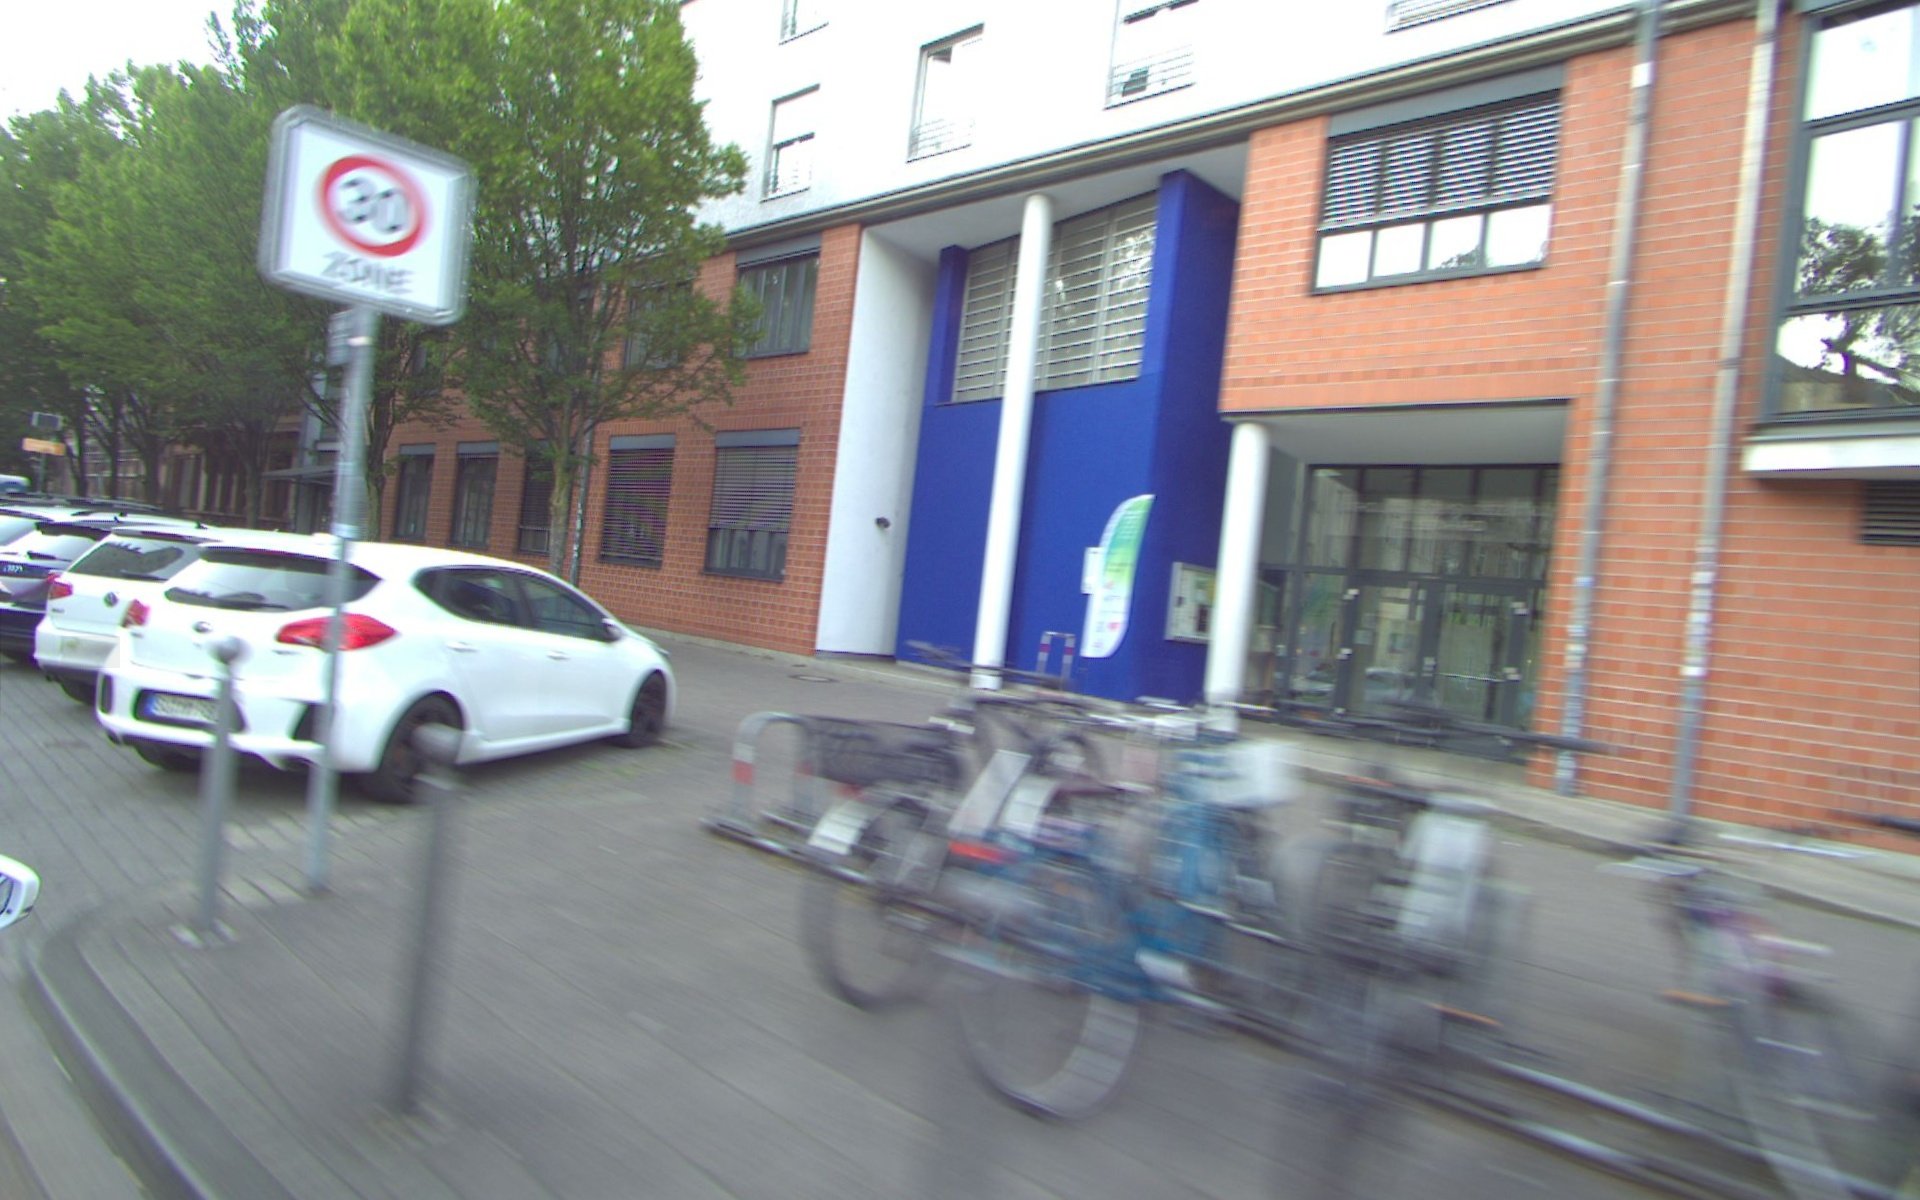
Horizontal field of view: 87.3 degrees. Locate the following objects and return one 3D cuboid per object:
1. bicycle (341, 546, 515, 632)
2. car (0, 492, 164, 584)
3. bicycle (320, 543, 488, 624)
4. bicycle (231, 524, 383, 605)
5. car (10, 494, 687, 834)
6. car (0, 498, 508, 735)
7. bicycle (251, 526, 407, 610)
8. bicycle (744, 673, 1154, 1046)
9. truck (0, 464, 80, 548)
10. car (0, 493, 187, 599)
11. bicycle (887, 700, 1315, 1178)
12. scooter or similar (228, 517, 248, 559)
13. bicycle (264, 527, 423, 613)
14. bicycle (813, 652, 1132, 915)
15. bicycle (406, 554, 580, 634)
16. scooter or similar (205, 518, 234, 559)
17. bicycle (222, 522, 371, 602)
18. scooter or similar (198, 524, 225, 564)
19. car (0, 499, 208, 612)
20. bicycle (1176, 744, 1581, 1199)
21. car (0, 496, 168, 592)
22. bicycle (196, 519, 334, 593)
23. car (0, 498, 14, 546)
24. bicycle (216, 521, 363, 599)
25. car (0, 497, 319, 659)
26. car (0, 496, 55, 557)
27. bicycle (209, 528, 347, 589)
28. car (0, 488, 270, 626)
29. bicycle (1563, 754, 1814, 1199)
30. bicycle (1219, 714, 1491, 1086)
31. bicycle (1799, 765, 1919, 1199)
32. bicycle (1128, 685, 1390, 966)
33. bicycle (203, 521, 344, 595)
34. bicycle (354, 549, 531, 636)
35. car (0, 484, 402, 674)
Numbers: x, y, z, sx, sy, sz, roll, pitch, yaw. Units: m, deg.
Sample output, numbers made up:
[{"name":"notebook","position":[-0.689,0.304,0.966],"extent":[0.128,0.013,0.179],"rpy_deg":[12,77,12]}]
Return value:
[{"name":"bicycle","position":[-9.095,-0.159,17.321],"extent":[0.554,1.180,2.530],"rpy_deg":[7,-1,42]},{"name":"car","position":[-19.546,-1.371,21.160],"extent":[1.726,1.657,3.999],"rpy_deg":[7,0,20]},{"name":"bicycle","position":[-9.952,-0.267,18.128],"extent":[0.554,1.180,2.530],"rpy_deg":[7,-1,42]},{"name":"bicycle","position":[-13.822,-0.725,21.377],"extent":[0.591,1.396,2.530],"rpy_deg":[7,0,42]},{"name":"car","position":[-3.710,0.375,7.097],"extent":[1.736,1.525,4.003],"rpy_deg":[7,-1,11]},{"name":"car","position":[-6.036,0.138,8.861],"extent":[1.840,1.491,4.002],"rpy_deg":[5,-1,7]},{"name":"bicycle","position":[-12.766,-0.619,20.449],"extent":[0.591,1.396,2.530],"rpy_deg":[7,0,42]},{"name":"bicycle","position":[0.075,0.849,3.901],"extent":[0.439,1.079,1.855],"rpy_deg":[7,1,38]},{"name":"truck","position":[-39.663,-4.042,40.197],"extent":[2.234,3.009,6.315],"rpy_deg":[3,-4,41]},{"name":"car","position":[-15.621,-0.939,17.174],"extent":[1.533,1.553,3.608],"rpy_deg":[7,-1,12]},{"name":"bicycle","position":[0.589,0.922,3.333],"extent":[0.439,1.079,1.855],"rpy_deg":[7,1,38]},{"name":"scooter or similar","position":[-22.144,-1.906,30.857],"extent":[0.409,1.235,1.756],"rpy_deg":[-1,5,-38]},{"name":"bicycle","position":[-12.215,-0.560,20.016],"extent":[0.591,1.396,2.530],"rpy_deg":[7,0,42]},{"name":"bicycle","position":[0.156,0.852,5.234],"extent":[0.516,1.079,1.909],"rpy_deg":[7,1,38]},{"name":"bicycle","position":[-7.227,-0.067,15.686],"extent":[0.671,1.114,2.340],"rpy_deg":[7,3,42]},{"name":"scooter or similar","position":[-23.371,-1.924,31.768],"extent":[0.365,1.234,1.693],"rpy_deg":[3,2,-26]},{"name":"bicycle","position":[-14.331,-0.795,21.816],"extent":[0.591,1.396,2.530],"rpy_deg":[7,0,42]},{"name":"scooter or similar","position":[-24.201,-1.791,32.528],"extent":[0.365,1.234,1.609],"rpy_deg":[3,2,-26]},{"name":"car","position":[-13.943,-0.702,15.360],"extent":[1.689,1.500,3.608],"rpy_deg":[7,-1,12]},{"name":"bicycle","position":[1.247,1.006,2.742],"extent":[0.465,1.052,1.855],"rpy_deg":[7,1,38]},{"name":"car","position":[-17.680,-1.135,18.665],"extent":[1.773,1.553,4.389],"rpy_deg":[7,-1,16]},{"name":"bicycle","position":[-16.367,-1.016,23.763],"extent":[0.591,1.396,2.530],"rpy_deg":[7,0,42]},{"name":"car","position":[-30.853,-2.538,29.804],"extent":[1.729,1.455,3.837],"rpy_deg":[7,0,5]},{"name":"bicycle","position":[-14.808,-0.862,22.295],"extent":[0.591,1.396,2.530],"rpy_deg":[7,0,42]},{"name":"car","position":[-9.775,-0.241,11.636],"extent":[1.604,1.555,4.003],"rpy_deg":[7,-1,9]},{"name":"car","position":[-26.186,-2.068,26.239],"extent":[1.741,1.493,3.407],"rpy_deg":[7,1,9]},{"name":"bicycle","position":[-15.409,-0.923,22.792],"extent":[0.591,1.262,2.525],"rpy_deg":[7,5,42]},{"name":"car","position":[-11.735,-0.546,13.773],"extent":[1.683,1.599,3.607],"rpy_deg":[7,-1,7]},{"name":"bicycle","position":[2.473,1.135,3.401],"extent":[0.465,1.052,1.538],"rpy_deg":[7,1,38]},{"name":"bicycle","position":[1.645,1.034,3.987],"extent":[0.396,1.052,1.855],"rpy_deg":[7,1,38]},{"name":"bicycle","position":[2.149,1.036,2.081],"extent":[0.465,1.191,1.705],"rpy_deg":[7,1,38]},{"name":"bicycle","position":[1.570,1.007,5.039],"extent":[0.516,1.079,1.855],"rpy_deg":[7,1,38]},{"name":"bicycle","position":[-15.804,-0.941,23.245],"extent":[0.591,1.396,2.530],"rpy_deg":[7,0,42]},{"name":"bicycle","position":[-8.653,-0.088,16.934],"extent":[0.554,1.180,2.530],"rpy_deg":[7,-1,42]},{"name":"car","position":[-8.045,-0.166,10.494],"extent":[1.677,1.541,4.003],"rpy_deg":[5,-1,9]}]
